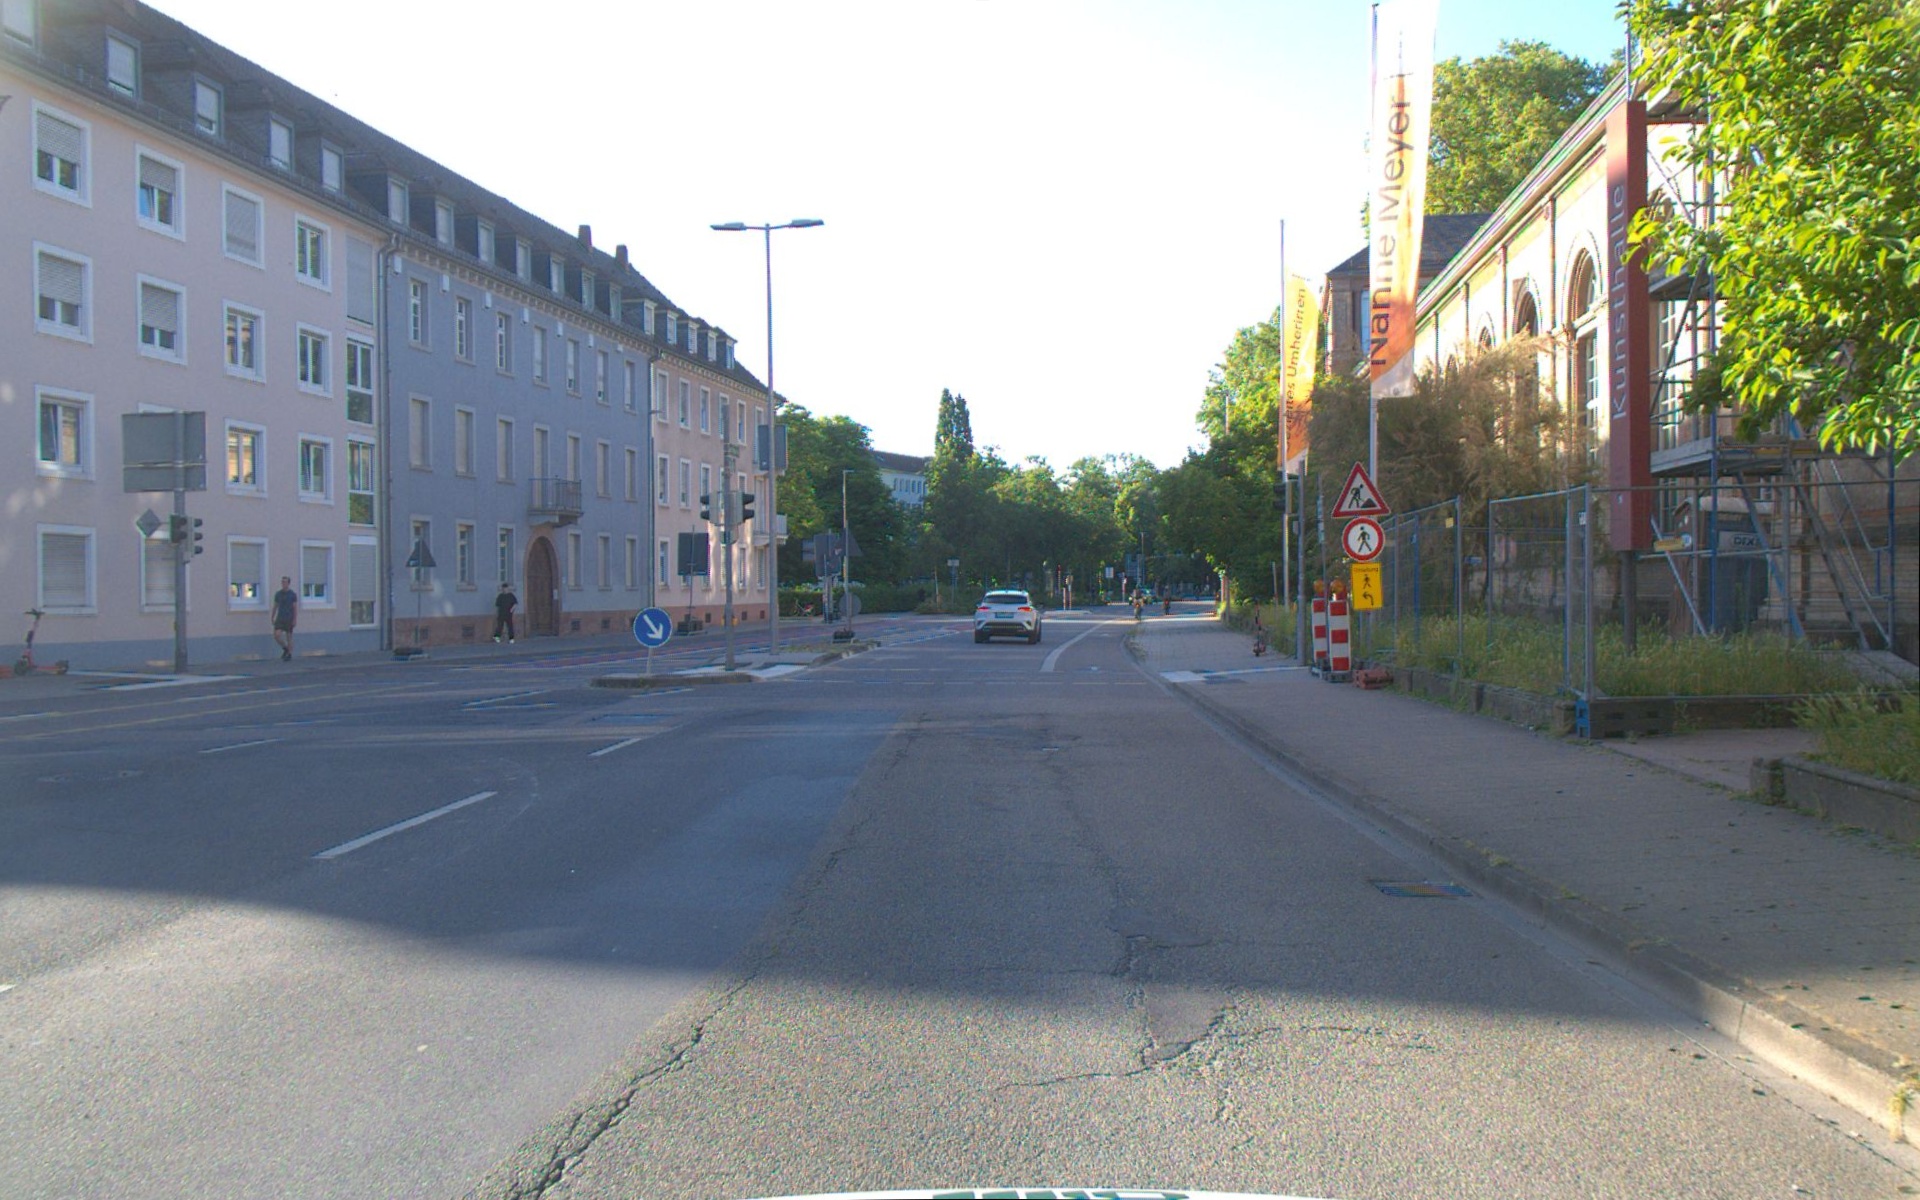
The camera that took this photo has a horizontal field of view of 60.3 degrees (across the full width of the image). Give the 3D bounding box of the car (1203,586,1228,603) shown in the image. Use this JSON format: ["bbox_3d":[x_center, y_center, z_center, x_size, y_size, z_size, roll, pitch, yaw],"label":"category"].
[{"bbox_3d":[24.192,-0.550,156.355,1.888,1.560,4.003,-1,0,15],"label":"car"}]

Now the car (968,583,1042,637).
[{"bbox_3d":[1.362,0.287,48.528,1.951,1.478,4.002,-1,0,4],"label":"car"}]

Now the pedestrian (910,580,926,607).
[{"bbox_3d":[-2.958,-0.447,117.343,0.837,1.884,1.002,-1,0,14],"label":"pedestrian"}]

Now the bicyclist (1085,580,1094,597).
[{"bbox_3d":[11.884,-1.045,152.093,0.616,1.549,0.725,-4,0,13],"label":"bicyclist"}]

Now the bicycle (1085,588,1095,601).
[{"bbox_3d":[11.923,-0.539,152.026,0.584,1.140,2.029,-4,-1,13],"label":"bicycle"}]

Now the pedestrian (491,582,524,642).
[{"bbox_3d":[-14.310,0.371,52.340,0.618,1.878,1.014,2,0,7],"label":"pedestrian"}]

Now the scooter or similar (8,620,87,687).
[{"bbox_3d":[-17.308,0.994,31.395,0.522,1.206,1.475,0,1,9],"label":"scooter or similar"}]

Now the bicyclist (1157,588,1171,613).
[{"bbox_3d":[12.858,0.058,104.296,0.731,1.564,0.970,0,0,15],"label":"bicyclist"}]

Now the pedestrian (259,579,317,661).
[{"bbox_3d":[-15.977,0.457,39.332,0.849,1.896,1.016,1,1,8],"label":"pedestrian"}]

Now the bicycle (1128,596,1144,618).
[{"bbox_3d":[8.512,0.339,80.056,0.629,1.042,2.214,1,1,9],"label":"bicycle"}]

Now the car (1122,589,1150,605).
[{"bbox_3d":[16.597,-0.314,155.941,1.773,1.444,4.558,-1,0,16],"label":"car"}]

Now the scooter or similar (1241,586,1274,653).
[{"bbox_3d":[6.192,0.390,34.449,0.543,1.331,1.833,-1,0,7],"label":"scooter or similar"}]

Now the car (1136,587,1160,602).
[{"bbox_3d":[19.118,-0.545,167.945,1.721,1.484,4.002,-1,0,17],"label":"car"}]

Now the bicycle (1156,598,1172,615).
[{"bbox_3d":[12.841,0.422,104.202,0.737,1.044,1.871,0,0,15],"label":"bicycle"}]

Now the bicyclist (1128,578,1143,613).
[{"bbox_3d":[8.510,-0.226,80.056,0.622,1.642,1.285,0,0,10],"label":"bicyclist"}]

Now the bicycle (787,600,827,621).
[{"bbox_3d":[-9.201,0.634,99.393,2.270,1.251,0.560,-1,0,14],"label":"bicycle"}]
